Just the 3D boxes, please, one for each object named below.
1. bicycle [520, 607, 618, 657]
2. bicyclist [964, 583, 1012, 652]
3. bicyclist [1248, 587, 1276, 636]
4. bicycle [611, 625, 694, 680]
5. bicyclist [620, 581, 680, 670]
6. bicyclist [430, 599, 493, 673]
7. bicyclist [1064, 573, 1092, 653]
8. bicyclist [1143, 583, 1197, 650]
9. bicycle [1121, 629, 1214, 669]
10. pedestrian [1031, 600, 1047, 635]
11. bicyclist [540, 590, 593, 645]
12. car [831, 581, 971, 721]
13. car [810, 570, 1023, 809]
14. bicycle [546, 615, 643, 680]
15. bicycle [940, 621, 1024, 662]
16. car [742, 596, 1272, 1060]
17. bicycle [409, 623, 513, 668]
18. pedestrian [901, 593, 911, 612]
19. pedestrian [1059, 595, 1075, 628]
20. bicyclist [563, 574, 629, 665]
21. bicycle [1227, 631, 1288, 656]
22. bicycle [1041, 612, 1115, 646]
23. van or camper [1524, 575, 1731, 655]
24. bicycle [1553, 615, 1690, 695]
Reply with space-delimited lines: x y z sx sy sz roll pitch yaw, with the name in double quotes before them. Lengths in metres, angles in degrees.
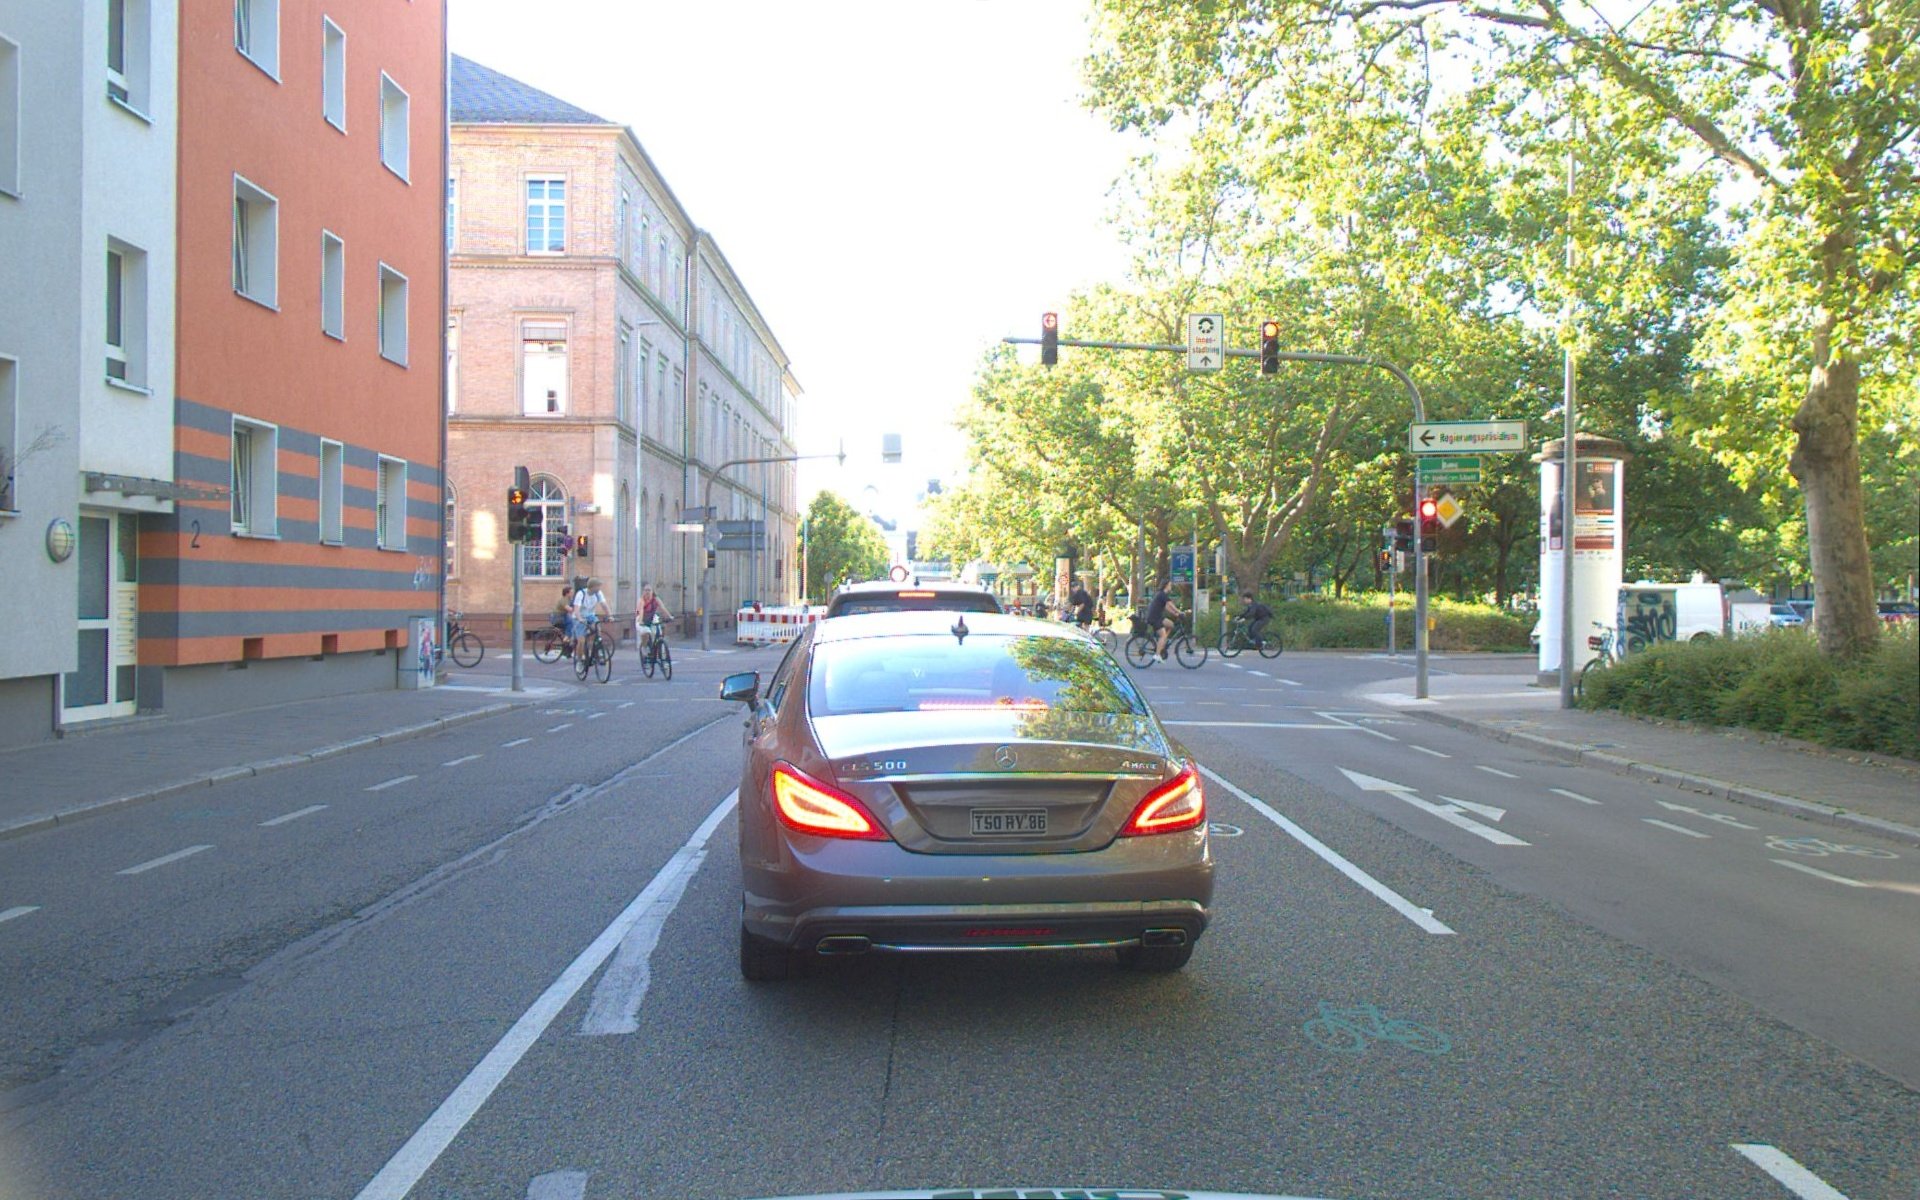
"bicycle" -8.437 0.690 35.739 1.939 1.045 0.652 0 0 0
"bicyclist" 0.637 0.396 37.343 1.052 1.546 0.717 0 0 4
"bicyclist" 8.065 0.308 44.223 0.689 1.282 0.458 0 0 3
"bicycle" -5.665 0.952 30.416 0.689 0.945 1.836 0 0 -40
"bicyclist" -5.721 0.461 30.494 0.681 1.605 0.967 0 0 -42
"bicyclist" -10.429 0.748 34.628 1.094 1.516 0.711 0 0 -1
"bicyclist" 3.039 0.329 42.680 0.640 2.049 0.439 0 0 -8
"bicyclist" 4.531 0.353 35.753 1.080 1.427 0.658 0 0 1
"bicycle" 4.470 1.055 35.751 1.933 0.851 0.677 0 0 1
"pedestrian" 3.516 0.785 73.673 0.635 1.529 0.637 0 0 -1
"bicyclist" -8.487 0.378 35.714 0.971 1.174 0.620 0 0 1
"car" -0.781 0.647 23.225 1.783 1.793 3.999 0 0 -1
"car" -0.400 0.633 13.651 1.487 1.675 3.878 1 0 -3
"bicycle" -6.544 0.831 29.587 1.805 1.097 0.860 0 0 44
"bicycle" 0.510 0.937 37.338 1.853 0.898 0.726 0 0 3
"car" -0.108 0.738 7.649 1.769 1.482 4.343 0 0 -8
"bicycle" -10.429 0.945 34.631 1.946 0.919 0.733 0 0 -1
"pedestrian" -4.413 0.208 136.163 0.785 1.604 0.844 0 0 -1
"pedestrian" 4.750 0.490 73.388 0.635 1.458 0.659 0 0 -1
"bicyclist" -6.511 0.341 29.573 0.825 1.582 0.839 0 0 44
"bicycle" 7.952 1.170 44.186 1.554 0.646 0.496 0 0 3
"bicycle" 3.043 0.747 42.677 1.856 0.851 0.457 0 0 -9
"van or camper" 16.992 0.379 42.257 4.484 1.975 2.000 0 0 1
"bicycle" 9.519 0.789 23.842 1.766 1.116 0.510 0 0 2
